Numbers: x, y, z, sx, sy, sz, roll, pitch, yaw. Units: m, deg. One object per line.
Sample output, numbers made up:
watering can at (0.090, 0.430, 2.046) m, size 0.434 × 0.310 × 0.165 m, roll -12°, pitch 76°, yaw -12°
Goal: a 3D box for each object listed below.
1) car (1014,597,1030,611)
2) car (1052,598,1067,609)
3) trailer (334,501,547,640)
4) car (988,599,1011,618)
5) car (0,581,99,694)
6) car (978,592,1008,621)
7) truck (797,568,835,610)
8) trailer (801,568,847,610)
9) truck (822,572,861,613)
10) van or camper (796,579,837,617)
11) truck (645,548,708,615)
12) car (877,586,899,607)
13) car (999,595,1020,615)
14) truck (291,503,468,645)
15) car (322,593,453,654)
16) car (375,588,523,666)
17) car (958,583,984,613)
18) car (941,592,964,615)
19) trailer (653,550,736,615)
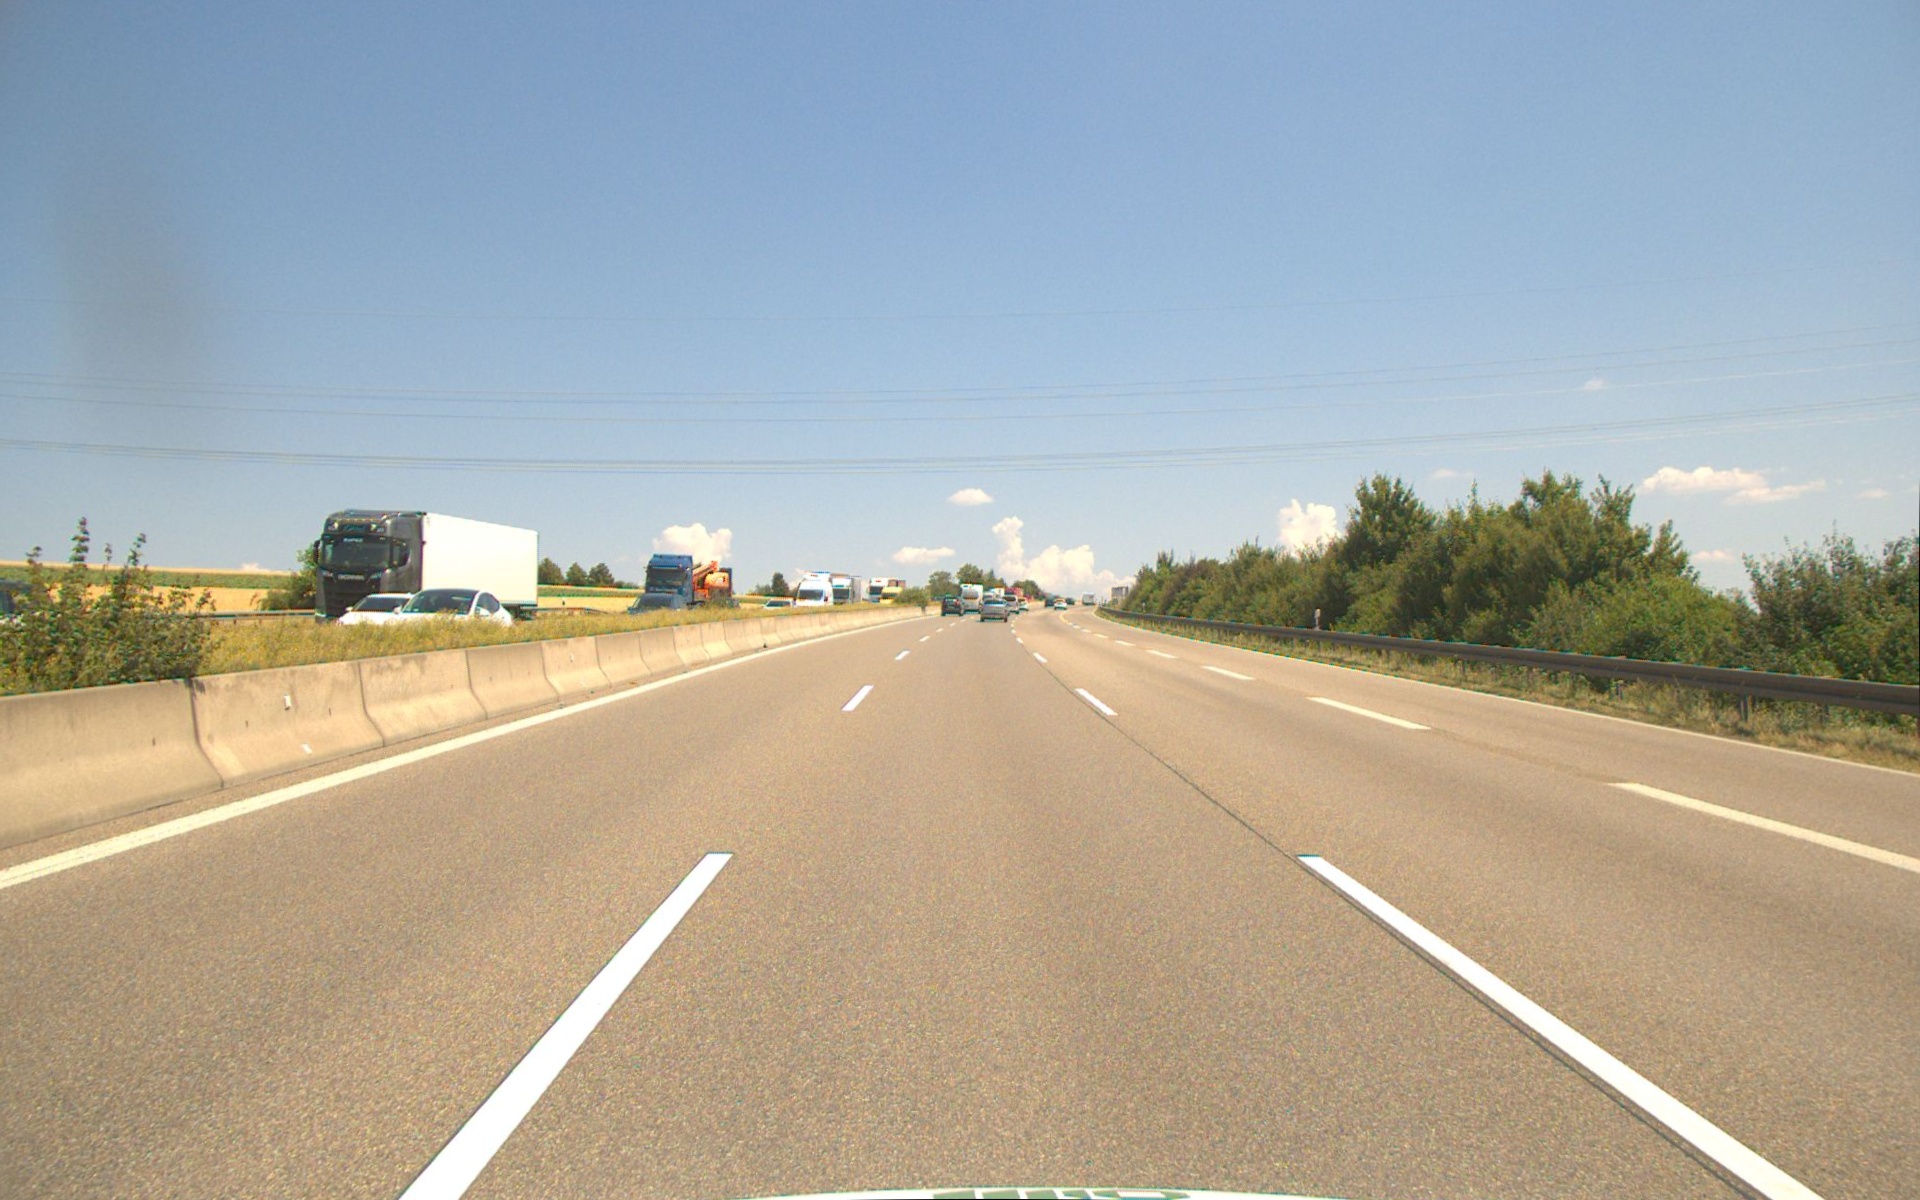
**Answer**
car at (7.605, 0.482, 202.437) m, size 1.952 × 1.579 × 4.001 m, roll 2°, pitch 1°, yaw 2°
car at (13.957, 0.471, 232.337) m, size 1.861 × 1.467 × 4.003 m, roll 1°, pitch 0°, yaw 7°
trailer at (-18.652, -0.969, 60.803) m, size 3.175 × 4.464 × 14.028 m, roll 1°, pitch 0°, yaw 1°
car at (3.514, 0.782, 147.864) m, size 1.953 × 1.613 × 3.999 m, roll 0°, pitch -1°, yaw 0°
car at (-14.762, 0.541, 24.165) m, size 1.953 × 1.615 × 4.588 m, roll 0°, pitch 0°, yaw 0°
car at (2.205, 0.467, 110.615) m, size 1.952 × 1.781 × 4.000 m, roll 1°, pitch -3°, yaw 1°
truck at (-14.594, -1.081, 167.658) m, size 2.793 × 4.098 × 6.518 m, roll 1°, pitch 0°, yaw 4°
trailer at (-14.183, -1.125, 174.140) m, size 2.734 × 4.177 × 14.013 m, roll 1°, pitch 0°, yaw 4°
truck at (-11.203, -0.728, 157.453) m, size 2.875 × 3.809 × 7.781 m, roll 1°, pitch 0°, yaw 2°
van or camper at (-9.869, -0.100, 113.912) m, size 2.025 × 2.507 × 7.520 m, roll -1°, pitch 0°, yaw 1°
truck at (-17.542, -1.137, 102.523) m, size 2.719 × 4.007 × 6.139 m, roll 0°, pitch 0°, yaw 1°
car at (-9.484, -0.455, 217.742) m, size 2.282 × 2.602 × 5.608 m, roll 1°, pitch 1°, yaw 4°
car at (5.076, 0.515, 168.124) m, size 1.952 × 1.937 × 4.001 m, roll 0°, pitch -2°, yaw 4°
truck at (-18.727, -0.813, 53.881) m, size 3.160 × 4.280 × 7.126 m, roll 1°, pitch 0°, yaw 1°
car at (-14.882, 0.600, 43.277) m, size 1.828 × 1.482 × 4.572 m, roll 1°, pitch 0°, yaw 0°
car at (-11.191, 0.557, 36.543) m, size 1.841 × 1.598 × 4.588 m, roll 1°, pitch 0°, yaw 0°
car at (1.132, -0.206, 162.825) m, size 2.134 × 2.671 × 4.674 m, roll 1°, pitch -3°, yaw 5°
car at (-0.629, 0.259, 141.168) m, size 1.809 × 1.893 × 4.207 m, roll 1°, pitch 1°, yaw 2°
trailer at (-17.378, -1.076, 109.355) m, size 2.780 × 4.027 × 13.730 m, roll 1°, pitch 0°, yaw 2°
